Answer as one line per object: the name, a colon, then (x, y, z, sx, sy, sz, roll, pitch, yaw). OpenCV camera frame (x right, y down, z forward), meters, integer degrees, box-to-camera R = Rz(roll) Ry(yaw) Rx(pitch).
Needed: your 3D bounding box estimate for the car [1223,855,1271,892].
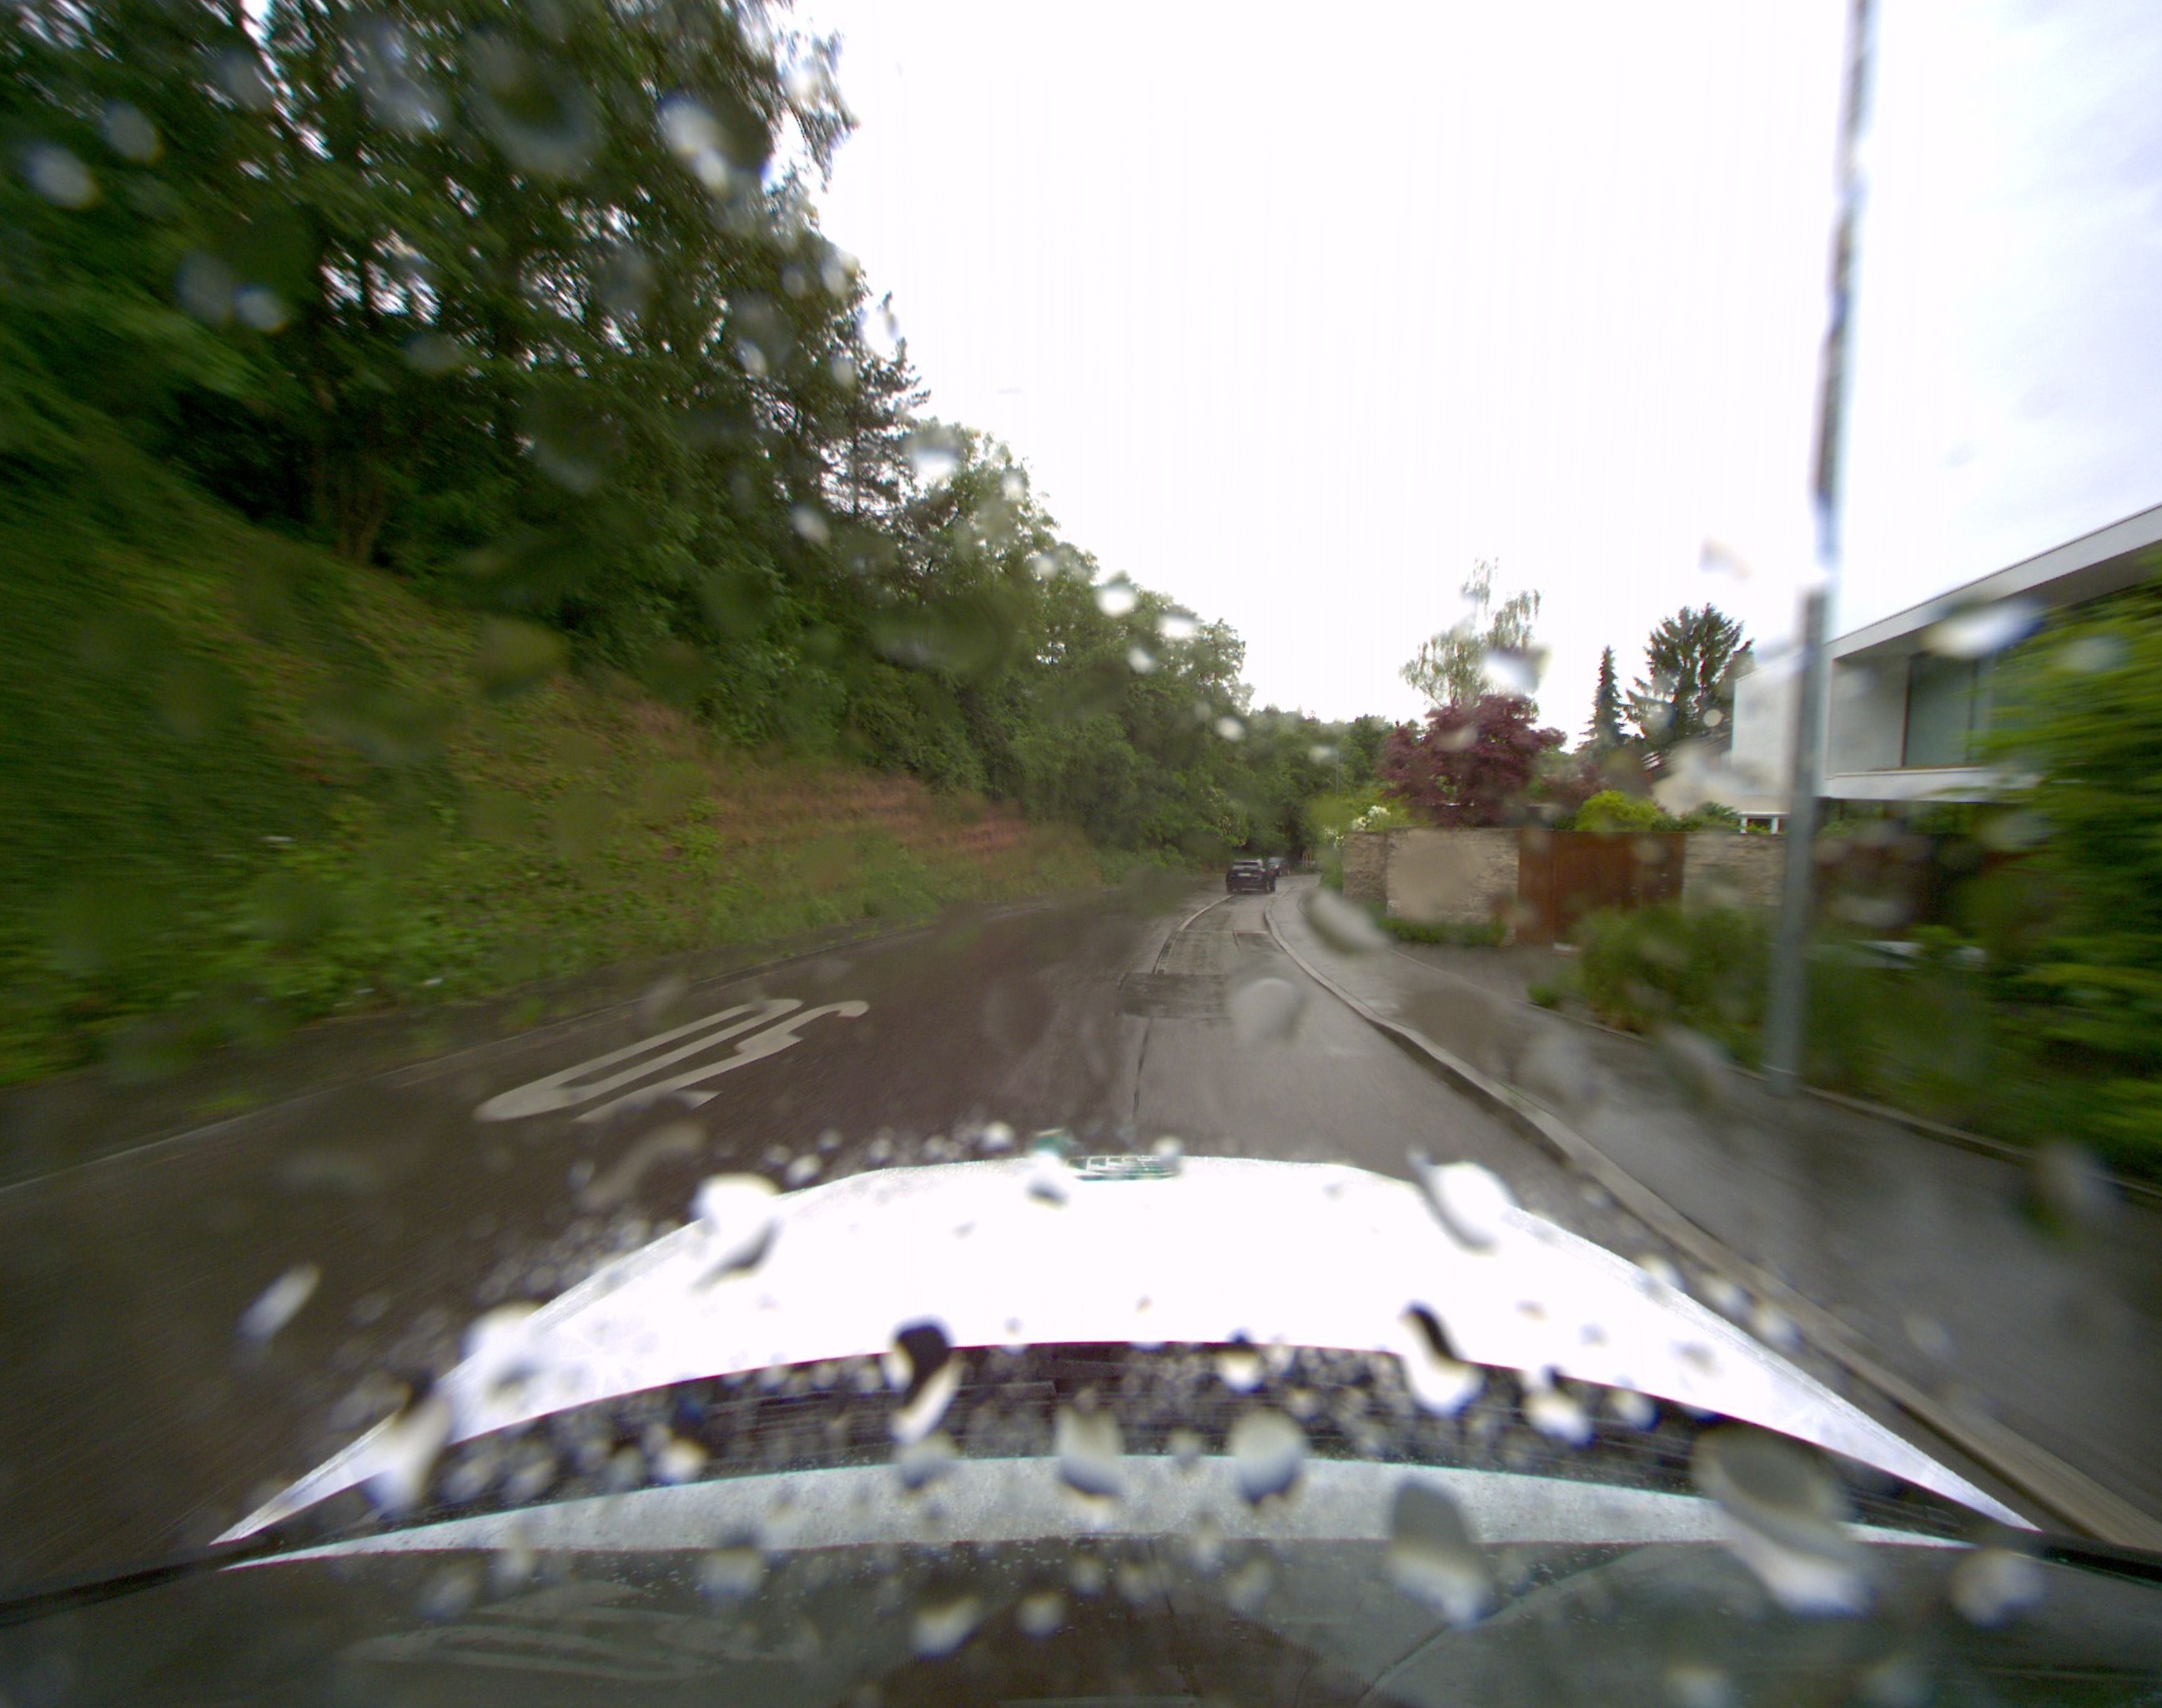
car: (7.330, 0.827, 35.738, 1.855, 1.512, 4.108, 1, 0, 14)

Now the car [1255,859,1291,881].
car: (14.585, 1.185, 61.632, 1.684, 1.471, 4.024, 2, 1, 27)
